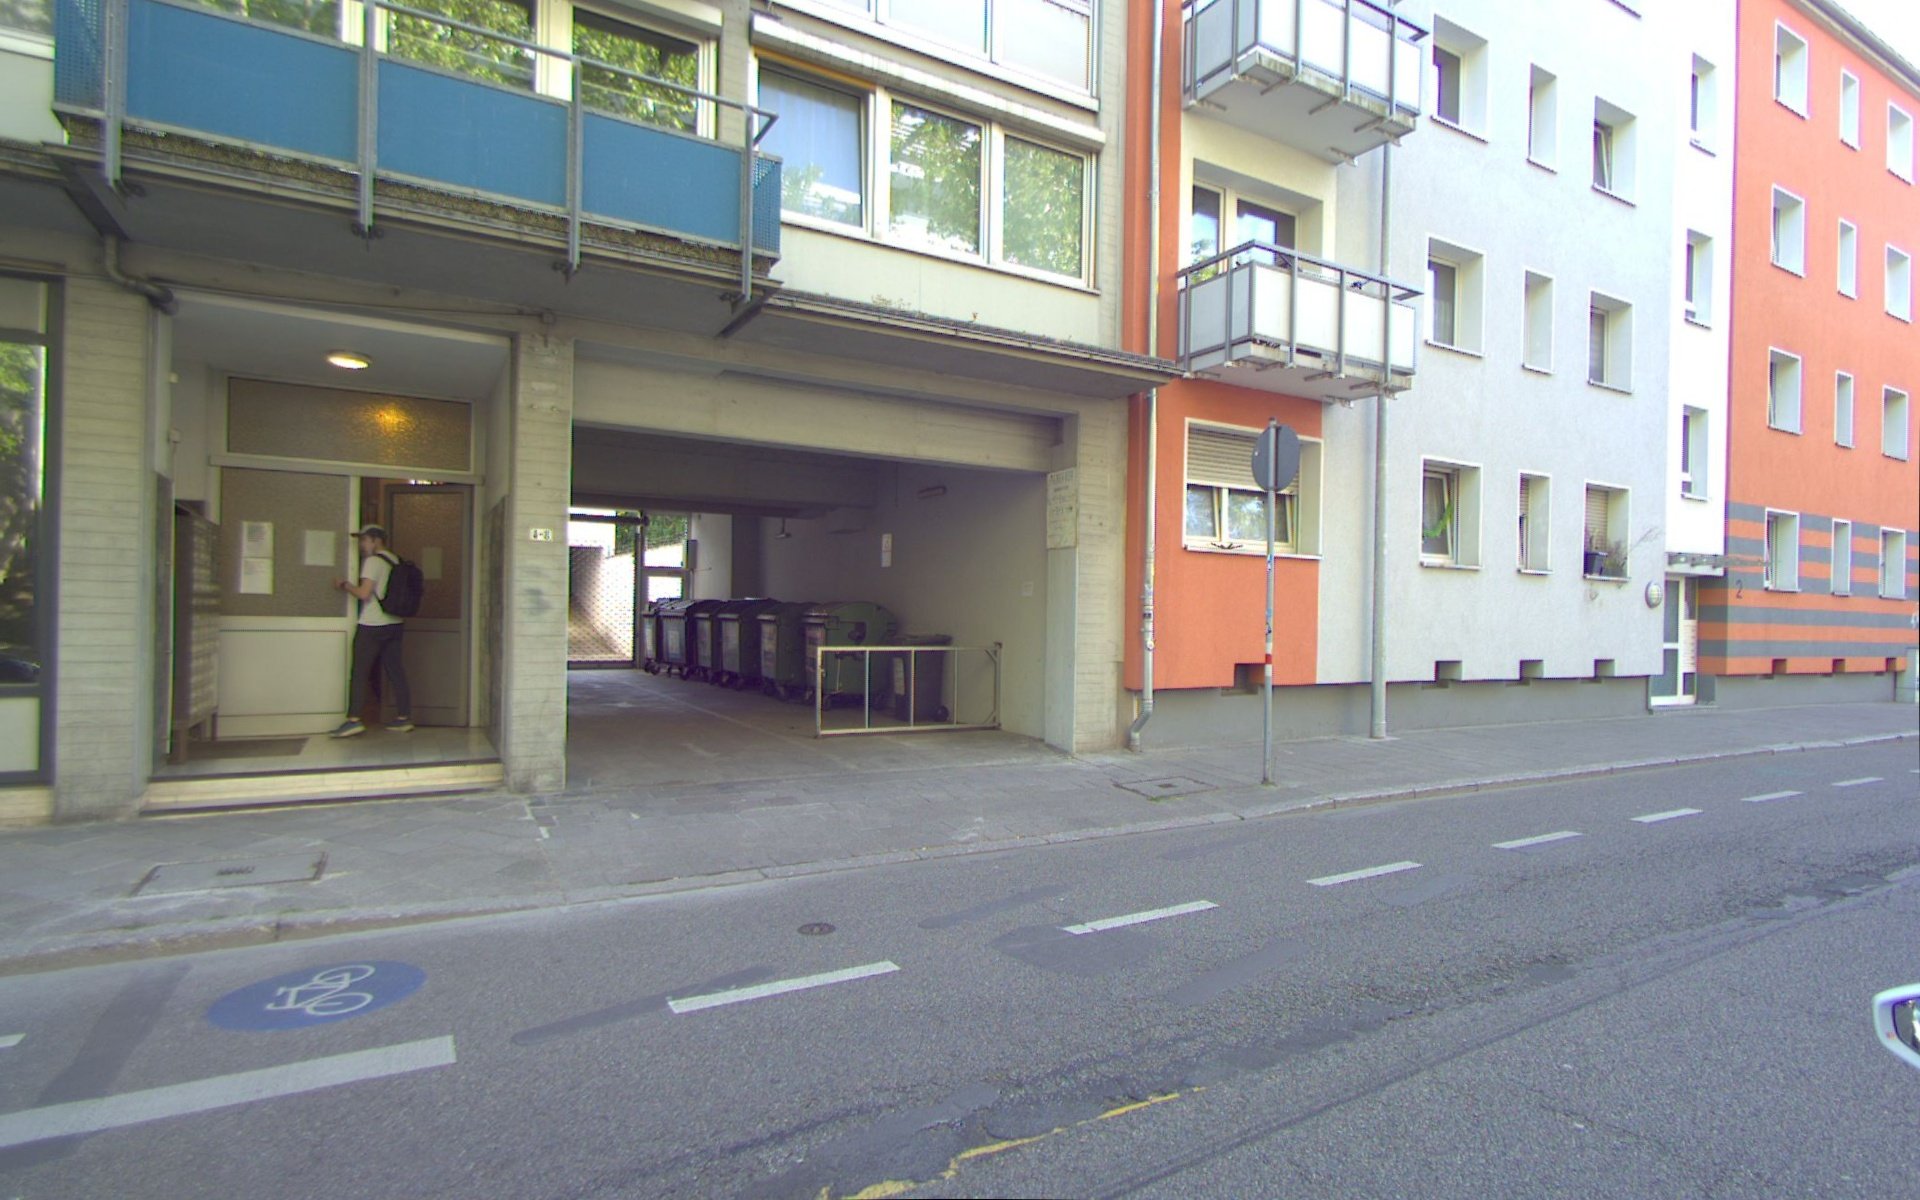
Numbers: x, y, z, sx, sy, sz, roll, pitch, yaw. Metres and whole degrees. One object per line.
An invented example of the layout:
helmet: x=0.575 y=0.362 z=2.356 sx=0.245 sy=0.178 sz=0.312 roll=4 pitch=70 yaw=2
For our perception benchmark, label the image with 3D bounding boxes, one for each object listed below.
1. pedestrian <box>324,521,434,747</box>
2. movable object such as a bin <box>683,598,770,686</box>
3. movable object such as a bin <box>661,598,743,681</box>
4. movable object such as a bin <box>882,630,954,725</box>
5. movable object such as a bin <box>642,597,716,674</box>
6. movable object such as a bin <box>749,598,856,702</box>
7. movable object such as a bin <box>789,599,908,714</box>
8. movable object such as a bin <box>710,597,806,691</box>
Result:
pedestrian: x=-5.127 y=0.291 z=8.904 sx=0.777 sy=1.904 sz=0.577 roll=2 pitch=0 yaw=-28
movable object such as a bin: x=-4.127 y=0.723 z=17.716 sx=1.186 sy=1.467 sz=1.114 roll=2 pitch=0 yaw=-30
movable object such as a bin: x=-4.826 y=0.725 z=18.759 sx=1.186 sy=1.467 sz=1.222 roll=2 pitch=0 yaw=-30
movable object such as a bin: x=-0.522 y=0.944 z=12.416 sx=0.745 sy=1.116 sz=0.463 roll=2 pitch=0 yaw=-30
movable object such as a bin: x=-5.602 y=0.690 z=19.988 sx=1.186 sy=1.467 sz=1.027 roll=2 pitch=0 yaw=-30
movable object such as a bin: x=-2.389 y=0.725 z=15.141 sx=1.186 sy=1.467 sz=1.319 roll=2 pitch=0 yaw=-30
movable object such as a bin: x=-1.549 y=0.744 z=13.808 sx=1.159 sy=1.467 sz=1.319 roll=2 pitch=0 yaw=-30
movable object such as a bin: x=-3.356 y=0.703 z=16.626 sx=1.186 sy=1.467 sz=1.319 roll=2 pitch=0 yaw=-30
